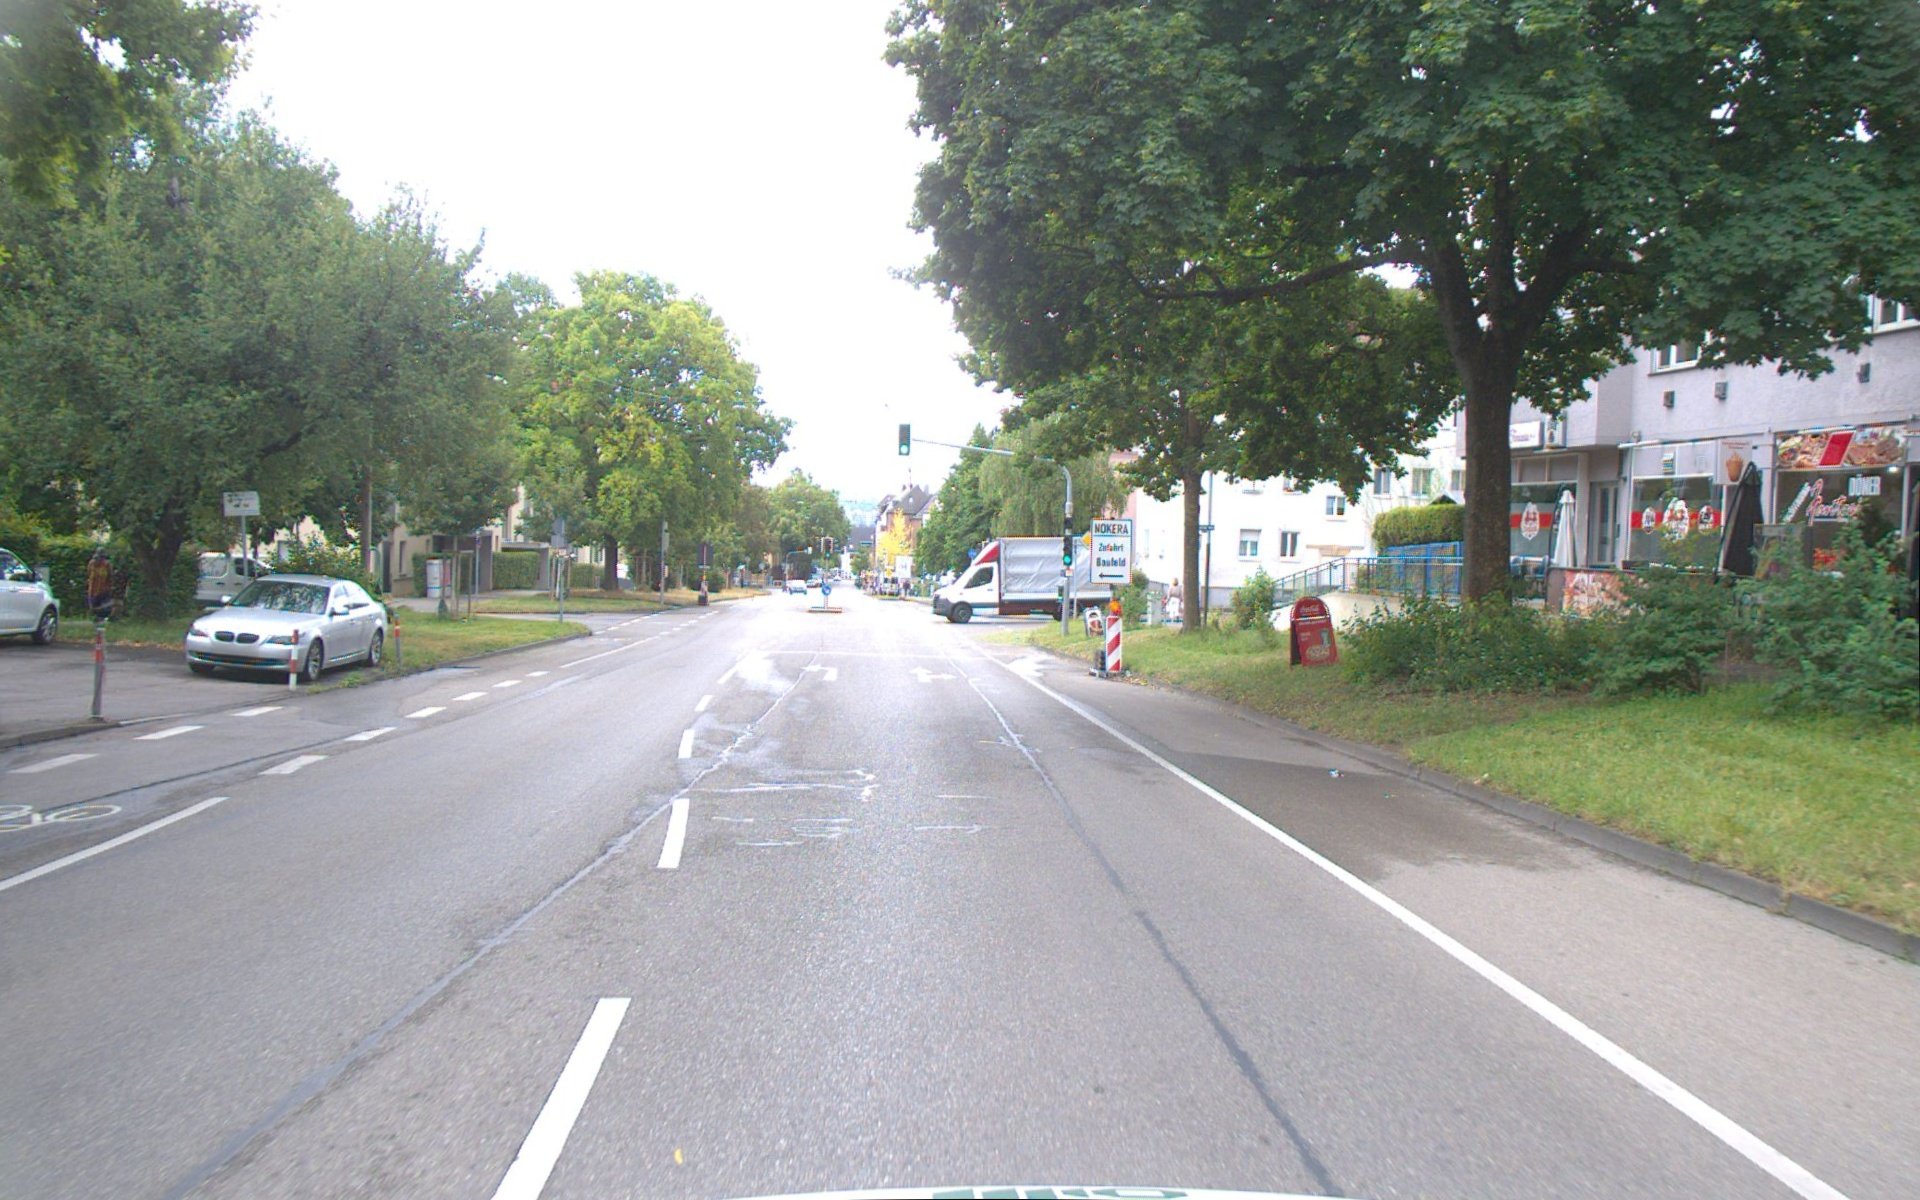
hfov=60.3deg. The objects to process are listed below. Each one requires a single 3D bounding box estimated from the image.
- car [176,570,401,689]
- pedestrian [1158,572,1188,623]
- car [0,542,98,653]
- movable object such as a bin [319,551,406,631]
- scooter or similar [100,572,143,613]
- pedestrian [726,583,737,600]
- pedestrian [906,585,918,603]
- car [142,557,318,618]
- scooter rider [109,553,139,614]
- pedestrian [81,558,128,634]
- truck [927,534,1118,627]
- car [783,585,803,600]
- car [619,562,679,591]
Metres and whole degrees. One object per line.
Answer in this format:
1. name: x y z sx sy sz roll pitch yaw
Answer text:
1. car: -10.508 0.412 26.285 1.726 1.661 4.751 2 0 -2
2. pedestrian: 7.929 -0.106 61.575 0.736 1.887 0.950 -2 1 -18
3. car: -15.336 -0.068 25.743 1.726 1.661 4.285 2 0 -3
4. movable object such as a bin: -15.255 -0.225 42.312 1.193 1.937 3.023 2 0 -3
5. scooter or similar: -17.913 -0.160 35.341 0.319 0.858 1.201 2 0 -3
6. pedestrian: -22.330 -0.826 161.566 0.931 1.678 1.041 2 0 -10
7. pedestrian: -5.197 -0.645 179.793 1.176 1.842 1.300 2 0 -3
8. car: -24.237 -0.409 55.054 4.896 1.845 1.998 2 0 -6
9. scooter rider: -17.915 -0.353 35.443 0.344 1.298 0.559 2 0 -3
10. pedestrian: -18.937 -0.095 36.613 0.617 1.641 0.829 2 0 -6
11. truck: 2.378 -0.756 64.286 7.089 3.365 2.536 1 0 -7
12. car: -17.471 -0.786 172.993 1.955 1.532 3.996 2 0 -5
13. car: -18.970 -1.449 101.115 3.382 1.624 1.998 2 0 -6
